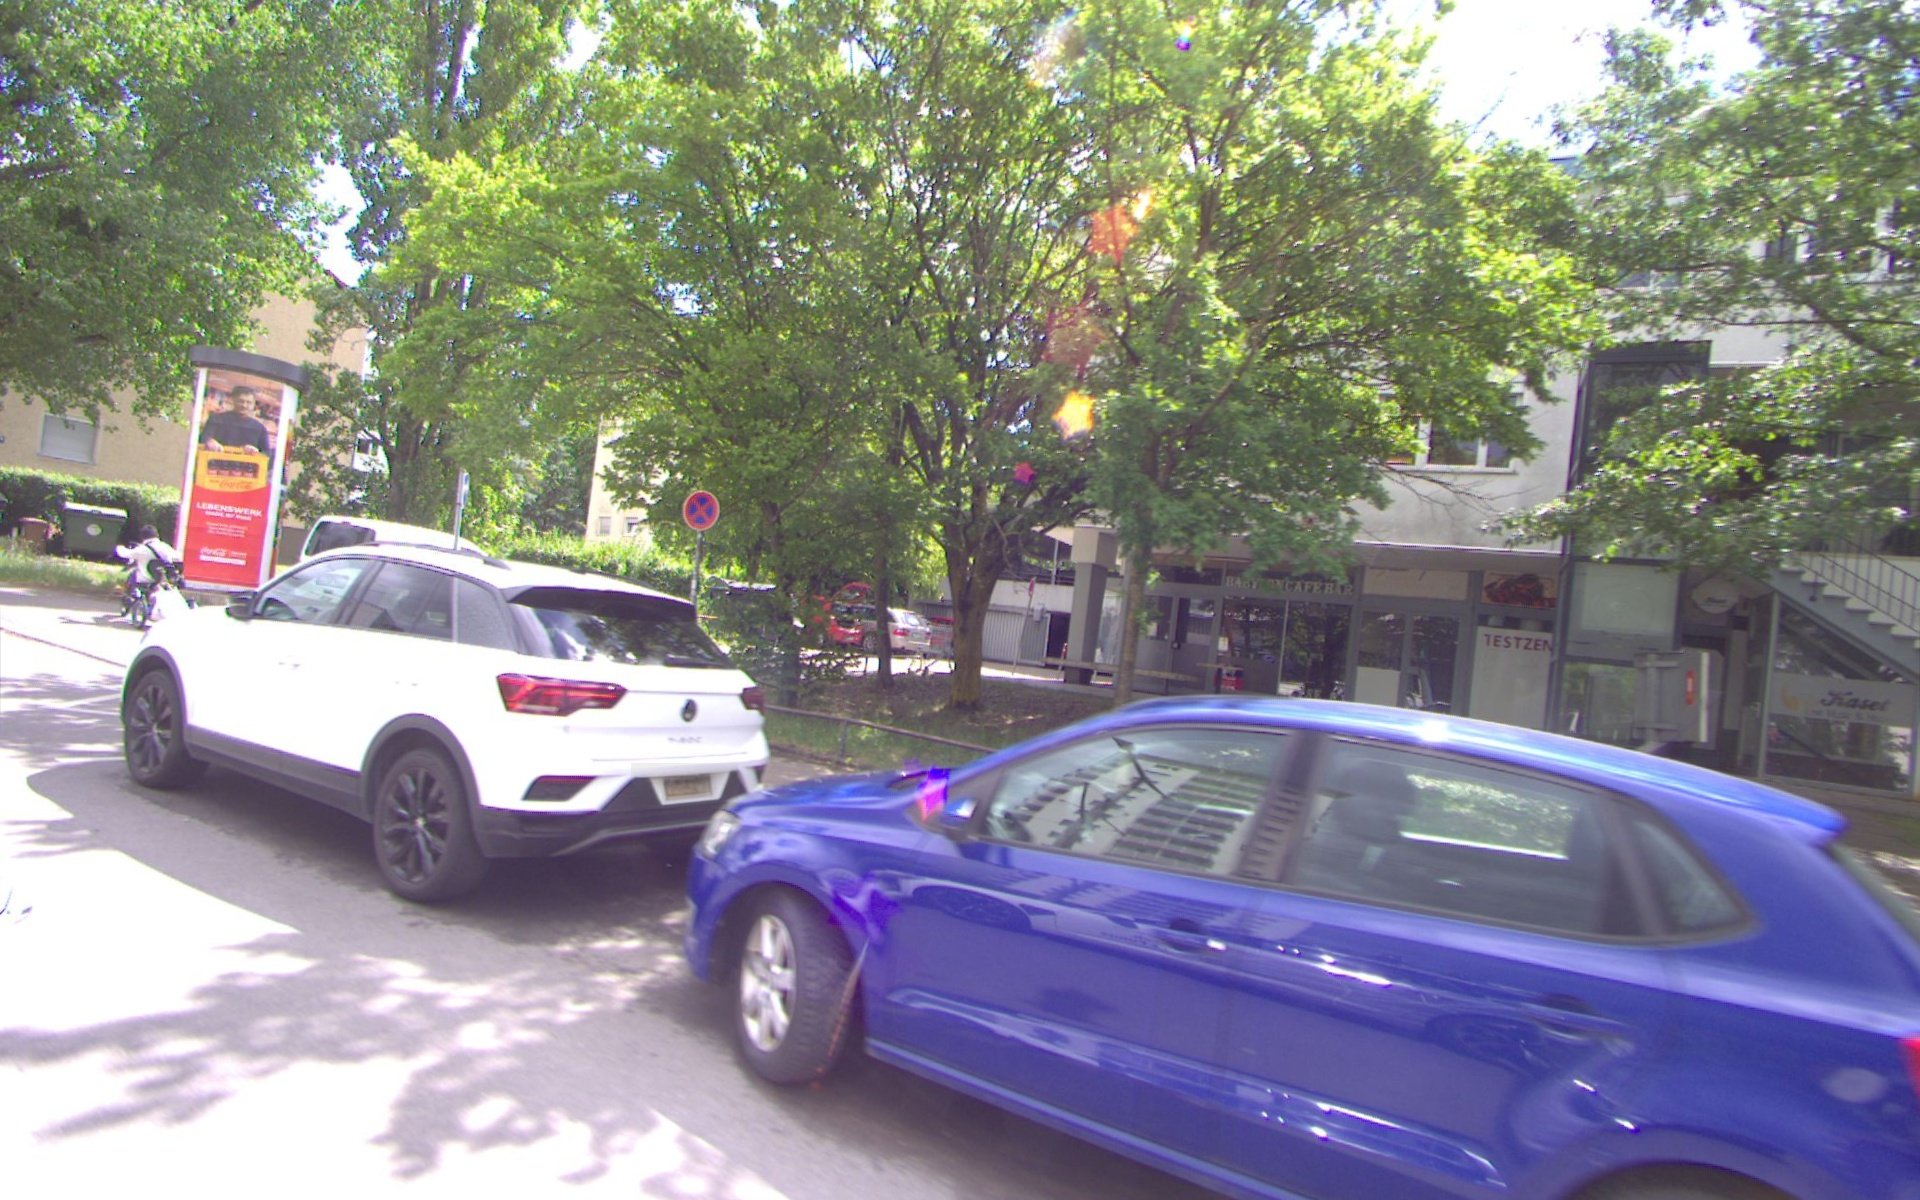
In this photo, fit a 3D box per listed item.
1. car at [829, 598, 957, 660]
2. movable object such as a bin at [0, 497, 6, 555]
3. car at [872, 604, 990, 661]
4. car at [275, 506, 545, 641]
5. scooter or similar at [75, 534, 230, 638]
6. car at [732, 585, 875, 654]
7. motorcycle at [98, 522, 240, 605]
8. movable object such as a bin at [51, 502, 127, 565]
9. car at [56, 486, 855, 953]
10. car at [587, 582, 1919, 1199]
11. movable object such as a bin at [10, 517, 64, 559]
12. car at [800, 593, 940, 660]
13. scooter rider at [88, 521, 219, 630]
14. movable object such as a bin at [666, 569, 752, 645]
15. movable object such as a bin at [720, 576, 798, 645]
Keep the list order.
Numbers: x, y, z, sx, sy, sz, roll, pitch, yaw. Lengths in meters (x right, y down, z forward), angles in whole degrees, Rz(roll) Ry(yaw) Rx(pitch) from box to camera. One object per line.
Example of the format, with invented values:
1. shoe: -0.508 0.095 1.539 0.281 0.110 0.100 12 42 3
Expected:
1. car: -2.282 0.973 34.010 3.935 1.547 1.745 7 0 34
2. movable object such as a bin: -24.382 -1.887 24.733 0.749 1.456 1.099 7 0 32
3. car: -1.101 1.182 37.425 3.935 1.547 1.745 7 0 34
4. car: -9.228 -0.344 17.315 1.776 1.845 4.003 7 0 11
5. scooter or similar: -10.712 -0.189 13.327 2.079 1.077 0.891 8 1 32
6. car: -4.635 0.564 29.590 3.938 1.461 1.744 7 0 36
7. motorcycle: -13.532 -0.594 17.285 0.698 1.225 1.802 7 0 12
8. movable object such as a bin: -23.242 -1.778 26.848 1.040 1.456 1.170 7 0 32
9. car: -3.034 0.407 5.788 4.491 1.584 1.787 7 0 29
10. car: 0.883 0.957 3.270 4.007 1.475 1.647 7 -1 31
11. movable object such as a bin: -23.766 -1.601 25.902 0.749 0.927 0.803 7 0 32
12. car: -2.803 0.803 31.074 3.935 1.488 1.745 7 0 34
13. scooter rider: -10.669 -0.323 13.313 1.261 1.235 0.886 8 1 32
14. movable object such as a bin: -5.457 0.150 21.920 1.264 1.447 1.116 7 0 32
15. movable object such as a bin: -4.805 0.262 24.074 1.264 1.447 1.116 7 0 32
